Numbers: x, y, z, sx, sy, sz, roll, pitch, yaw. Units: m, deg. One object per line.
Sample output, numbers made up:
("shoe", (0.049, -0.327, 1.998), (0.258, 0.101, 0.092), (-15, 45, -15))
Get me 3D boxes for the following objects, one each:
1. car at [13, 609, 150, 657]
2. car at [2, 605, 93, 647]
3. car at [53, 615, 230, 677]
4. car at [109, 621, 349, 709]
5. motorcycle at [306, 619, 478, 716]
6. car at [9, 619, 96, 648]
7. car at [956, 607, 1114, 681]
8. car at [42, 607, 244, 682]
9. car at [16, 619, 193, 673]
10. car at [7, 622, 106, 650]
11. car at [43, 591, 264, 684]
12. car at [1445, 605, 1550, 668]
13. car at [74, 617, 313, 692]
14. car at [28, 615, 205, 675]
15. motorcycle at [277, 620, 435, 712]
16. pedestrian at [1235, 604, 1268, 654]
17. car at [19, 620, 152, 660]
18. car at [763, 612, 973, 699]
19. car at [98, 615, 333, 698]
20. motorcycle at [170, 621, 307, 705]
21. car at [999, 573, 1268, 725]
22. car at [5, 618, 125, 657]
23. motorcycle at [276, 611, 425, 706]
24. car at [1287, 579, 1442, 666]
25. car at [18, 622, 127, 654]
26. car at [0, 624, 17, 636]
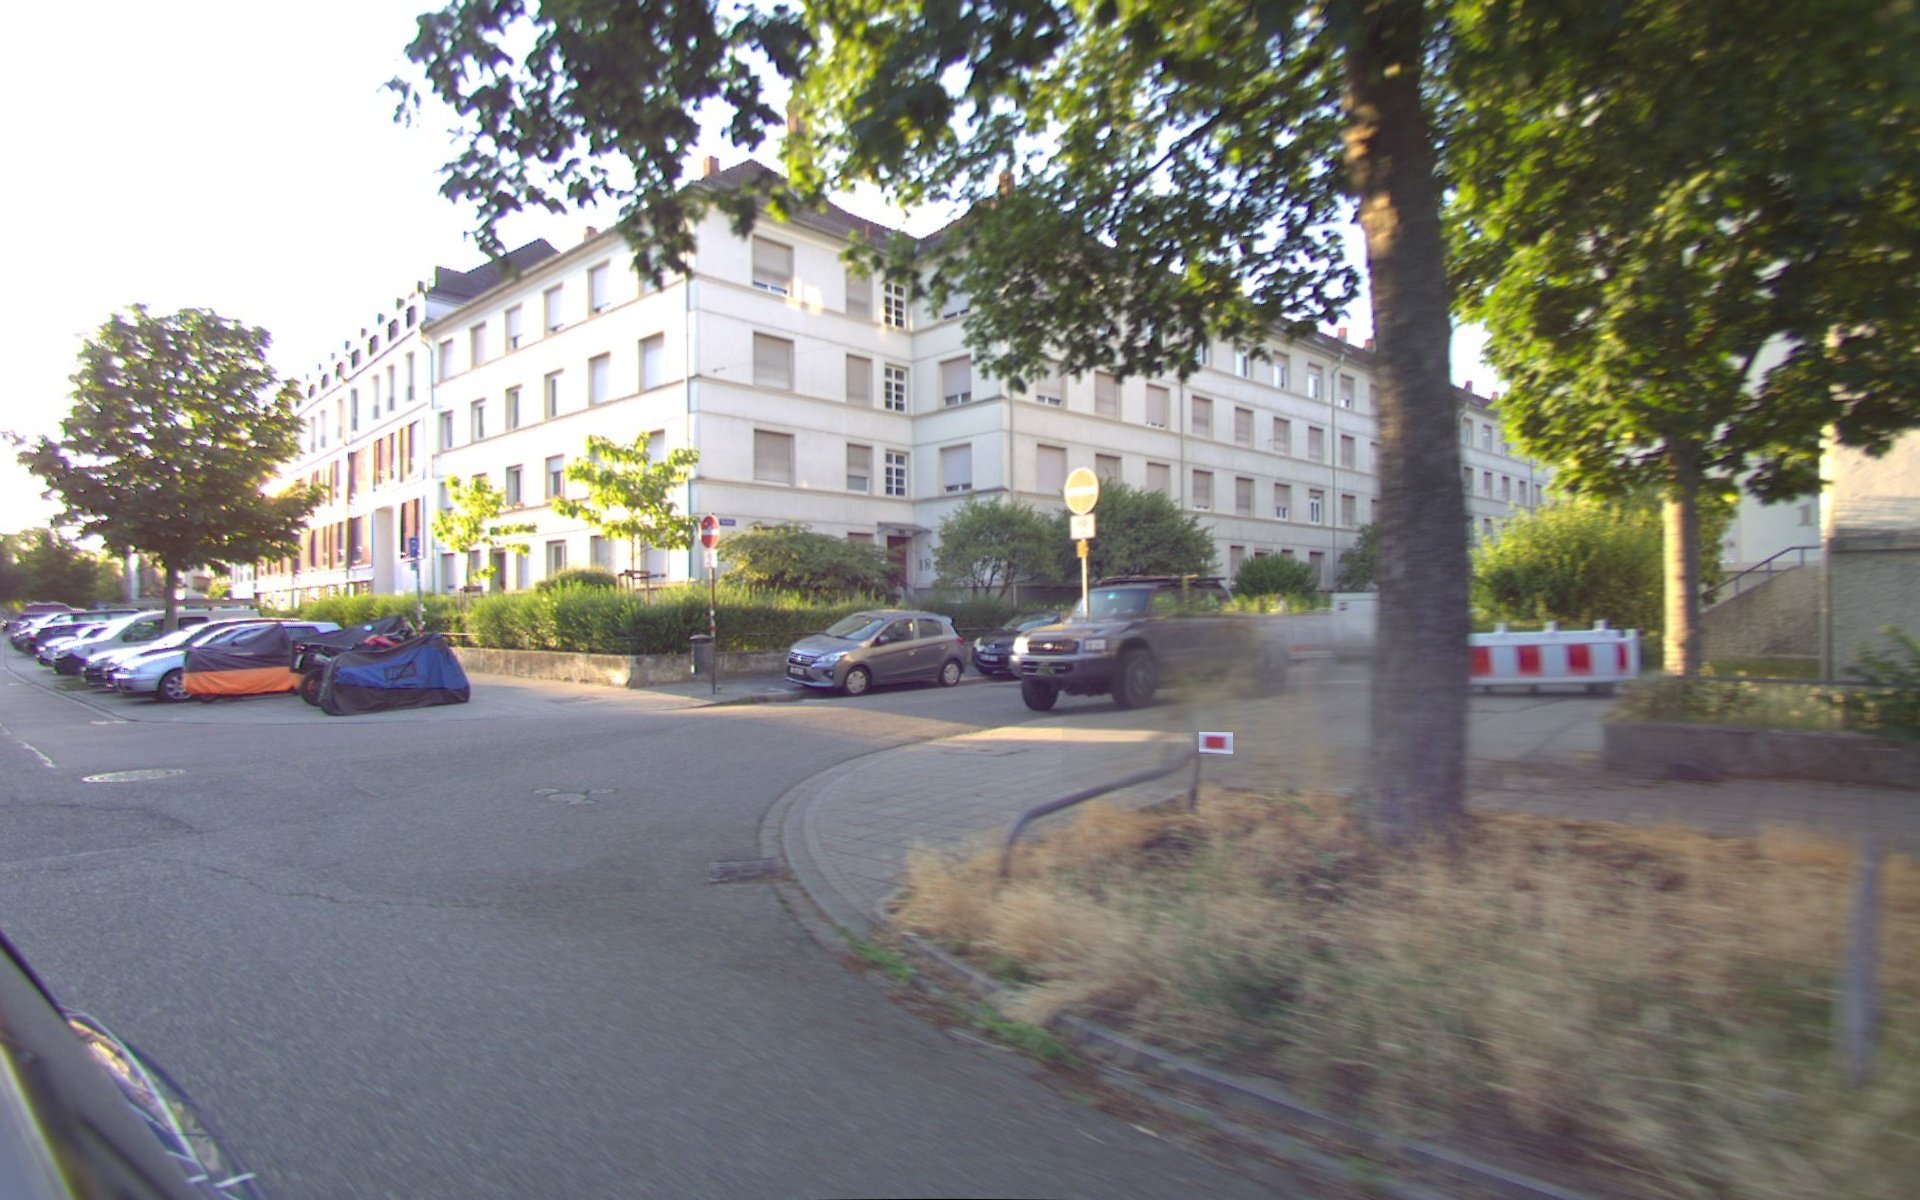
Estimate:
("car", (-41.296, 1.497, 47.678), (4.795, 2.070, 2.003), (0, -1, -42))
("car", (-59.115, 1.636, 65.626), (4.349, 2.576, 1.934), (0, -1, -43))
("car", (-24.993, 1.363, 30.991), (1.756, 1.495, 3.944), (-2, 2, 43))
("car", (-14.459, 1.207, 20.130), (3.671, 1.517, 1.691), (0, -1, -45))
("motorcycle", (-9.378, 1.068, 16.778), (2.354, 1.447, 0.882), (0, -1, -43))
("car", (-55.494, 2.027, 61.942), (3.901, 1.551, 1.757), (-1, 0, -42))
("car", (1.731, 0.936, 22.791), (3.420, 1.503, 1.729), (0, -1, -45))
("car", (-23.511, 1.221, 29.226), (4.370, 1.815, 1.945), (-3, 0, -44))
("car", (-28.880, 1.498, 34.256), (1.827, 1.462, 4.361), (-1, 2, 43))
("car", (-51.909, 2.040, 58.209), (4.213, 1.505, 1.790), (0, -1, -44))
("car", (-21.672, 0.943, 27.307), (4.459, 2.085, 2.002), (-4, 1, -43))
("car", (15.192, 0.984, 28.543), (3.400, 1.615, 1.652), (0, -1, -45))
("car", (-17.952, 1.204, 23.830), (4.276, 1.416, 1.853), (-3, 1, -44))
("car", (-27.041, 1.383, 32.536), (1.814, 1.633, 4.195), (-2, 0, 45))
("motorcycle", (-10.319, 1.085, 17.354), (2.204, 1.447, 0.774), (0, -1, -43))
("pedestrian", (9.824, 0.972, 34.133), (0.805, 1.649, 0.737), (1, -2, -45))
("car", (-37.746, 1.703, 43.750), (1.738, 1.426, 4.096), (-1, 1, 41))
("car", (-1.722, 0.996, 19.599), (3.720, 1.475, 1.830), (0, -1, -44))
("car", (-16.169, 1.150, 22.089), (3.941, 1.595, 1.730), (0, -1, -44))
("motorcycle", (-13.390, 1.125, 18.836), (0.721, 1.447, 1.966), (-1, -1, 39))
("car", (2.843, 0.658, 15.818), (2.000, 2.029, 4.527), (-1, -1, 43))
("car", (-40.036, 1.664, 45.328), (1.654, 1.504, 3.842), (-1, 1, 42))
("motorcycle", (-11.036, 1.023, 18.382), (2.204, 1.594, 0.774), (0, -1, -43))
("car", (9.367, 0.477, 23.295), (2.000, 1.832, 3.943), (-1, -1, 43))
("car", (-46.525, 1.955, 53.115), (2.050, 1.601, 3.950), (-1, -1, 37))
("car", (-114.779, 3.605, 121.801), (3.785, 1.498, 1.738), (-1, -3, 44))
